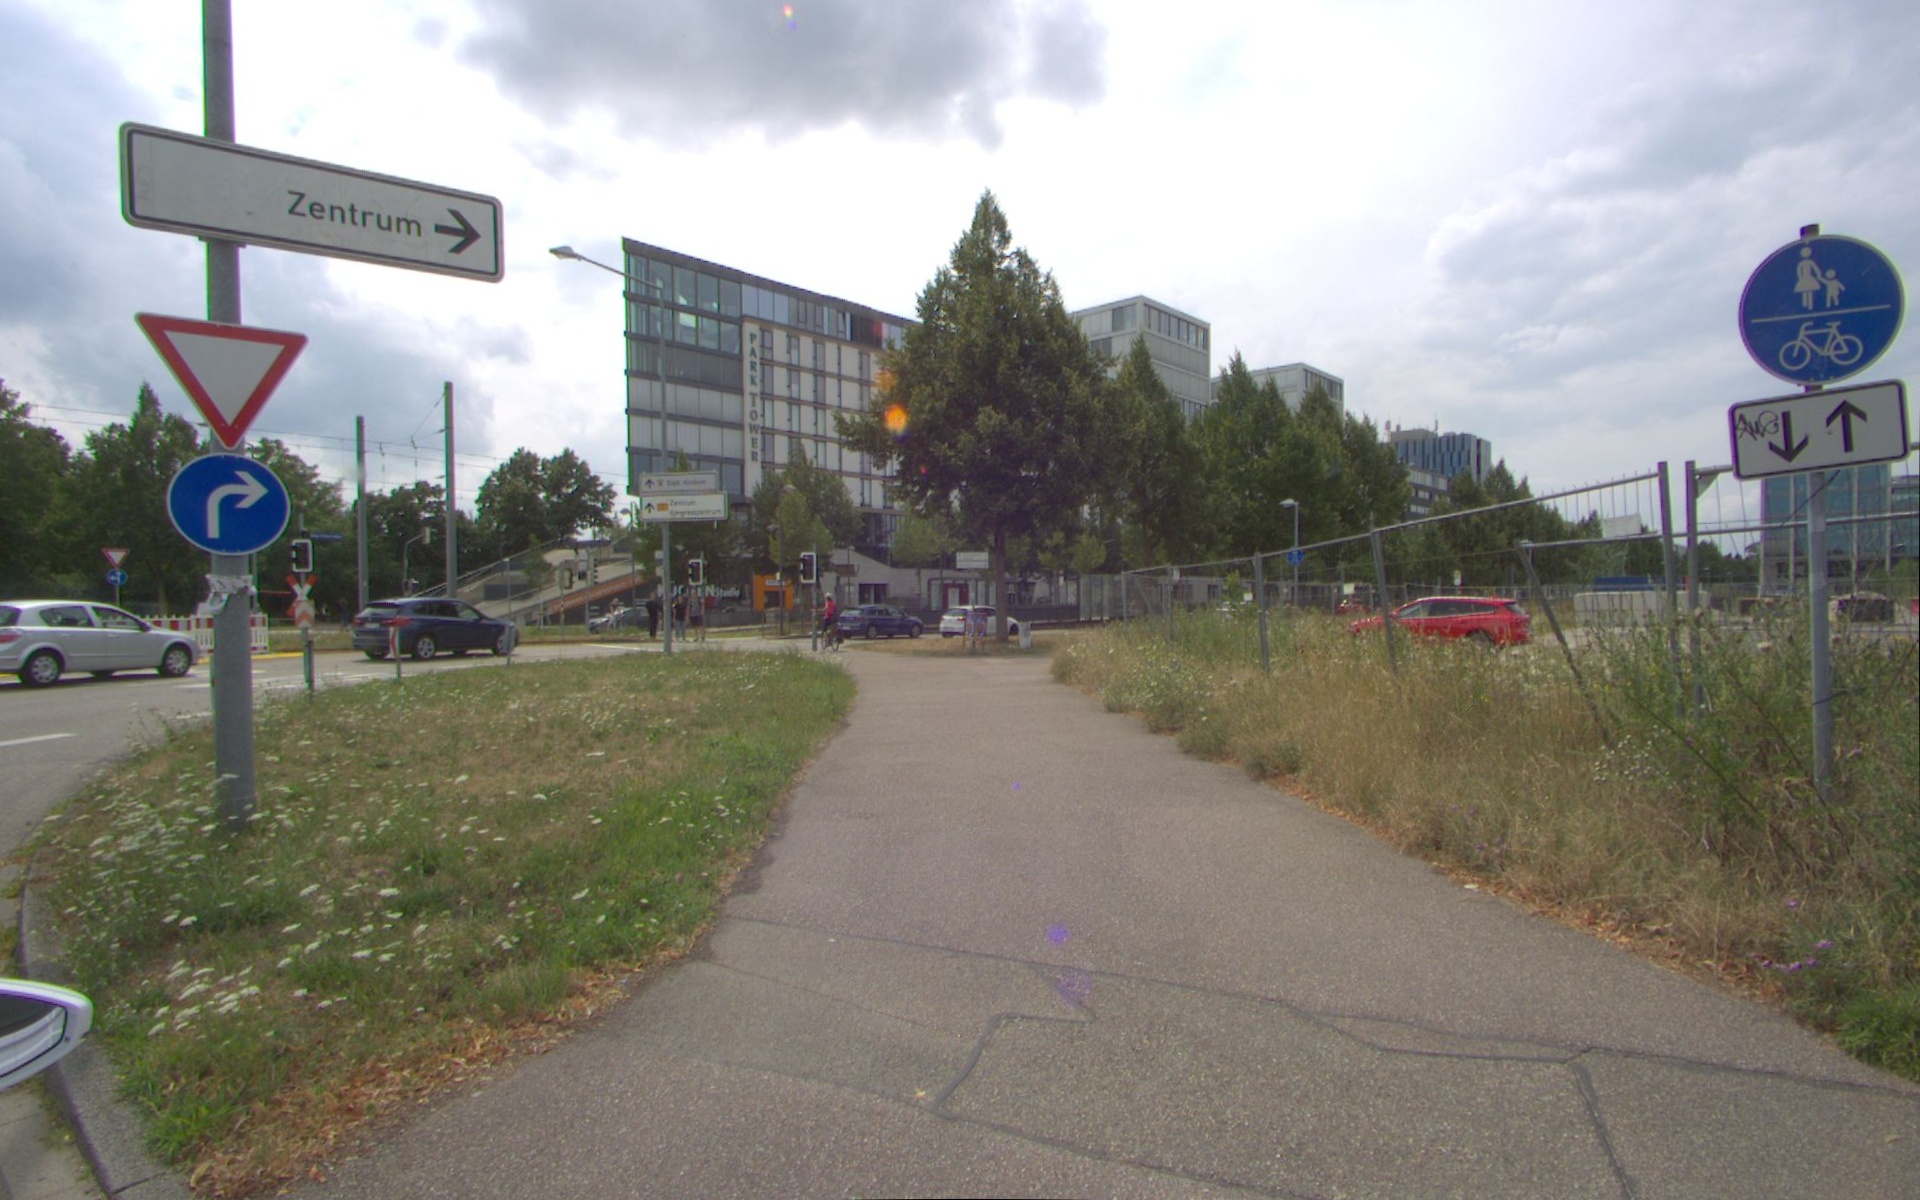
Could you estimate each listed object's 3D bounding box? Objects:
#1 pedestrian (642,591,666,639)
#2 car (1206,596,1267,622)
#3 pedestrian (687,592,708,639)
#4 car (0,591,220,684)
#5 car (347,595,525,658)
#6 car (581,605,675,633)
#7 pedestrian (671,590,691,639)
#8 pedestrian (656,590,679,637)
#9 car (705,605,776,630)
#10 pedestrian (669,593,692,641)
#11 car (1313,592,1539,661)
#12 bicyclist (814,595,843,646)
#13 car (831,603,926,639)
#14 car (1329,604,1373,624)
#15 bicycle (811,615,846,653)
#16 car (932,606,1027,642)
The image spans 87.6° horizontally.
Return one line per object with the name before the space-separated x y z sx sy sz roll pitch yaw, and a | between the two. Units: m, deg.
pedestrian | -11.606 0.574 38.038 0.546 1.805 0.685 1 1 37
car | 18.026 0.582 65.081 1.977 1.639 4.713 0 0 42
pedestrian | -10.181 0.590 38.874 0.546 1.805 0.576 1 1 37
car | -16.052 0.610 18.204 1.795 1.482 4.259 0 0 5
car | -13.829 0.651 26.750 1.701 1.554 4.366 0 0 16
car | -18.417 1.016 55.723 1.829 1.477 4.696 1 0 43
pedestrian | -10.883 0.551 39.057 0.546 1.887 0.527 1 1 37
pedestrian | -11.264 0.510 38.550 0.546 1.805 0.629 1 1 37
car | -13.590 1.051 62.057 1.829 1.477 3.963 1 0 44
pedestrian | -10.669 0.652 38.216 0.546 1.805 0.685 1 1 37
car | 11.941 0.655 25.864 5.072 1.625 1.777 0 0 37
bicyclist | -4.347 0.659 33.112 0.778 1.649 1.046 -1 1 -18
car | -3.477 0.878 43.427 1.780 1.517 4.084 0 0 40
car | 33.303 1.167 85.238 1.977 1.639 4.713 0 0 41
bicycle | -4.385 1.100 33.220 0.778 1.183 2.037 -1 0 -19
car | 0.906 1.018 43.922 1.783 1.517 4.220 0 0 45
